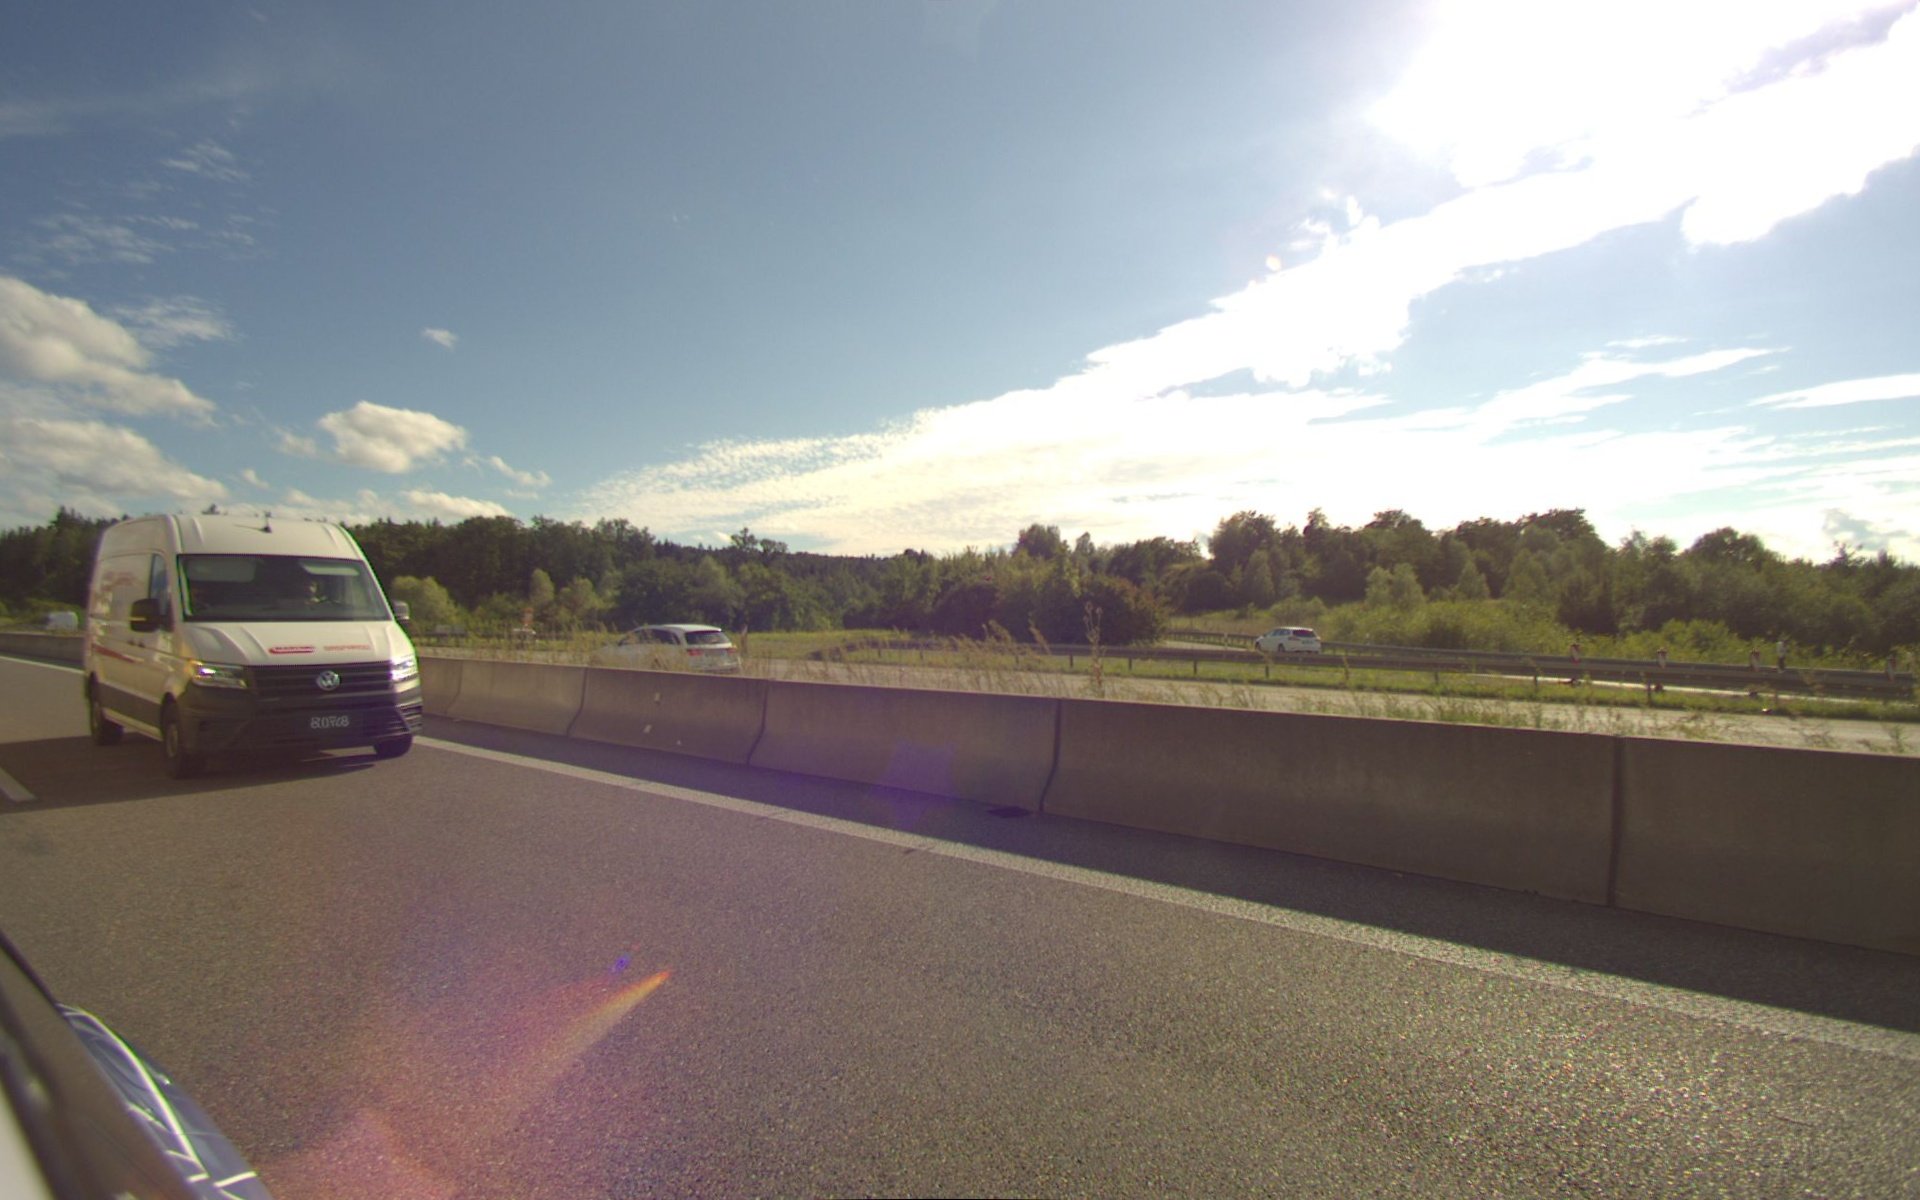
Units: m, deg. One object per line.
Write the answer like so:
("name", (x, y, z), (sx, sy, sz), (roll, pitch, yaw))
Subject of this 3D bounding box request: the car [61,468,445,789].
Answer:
("car", (-7.974, 0.295, 11.066), (6.178, 2.618, 1.994), (-2, -1, 41))

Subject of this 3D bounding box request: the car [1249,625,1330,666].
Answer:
("car", (16.794, 2.287, 51.862), (1.969, 1.813, 4.985), (-1, 0, -7))

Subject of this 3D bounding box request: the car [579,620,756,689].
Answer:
("car", (-7.446, 1.301, 25.498), (4.931, 1.487, 1.898), (-1, 0, 41))

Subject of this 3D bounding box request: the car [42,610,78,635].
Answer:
("car", (-99.148, 2.453, 111.424), (7.318, 2.598, 2.012), (-1, 0, 41))
